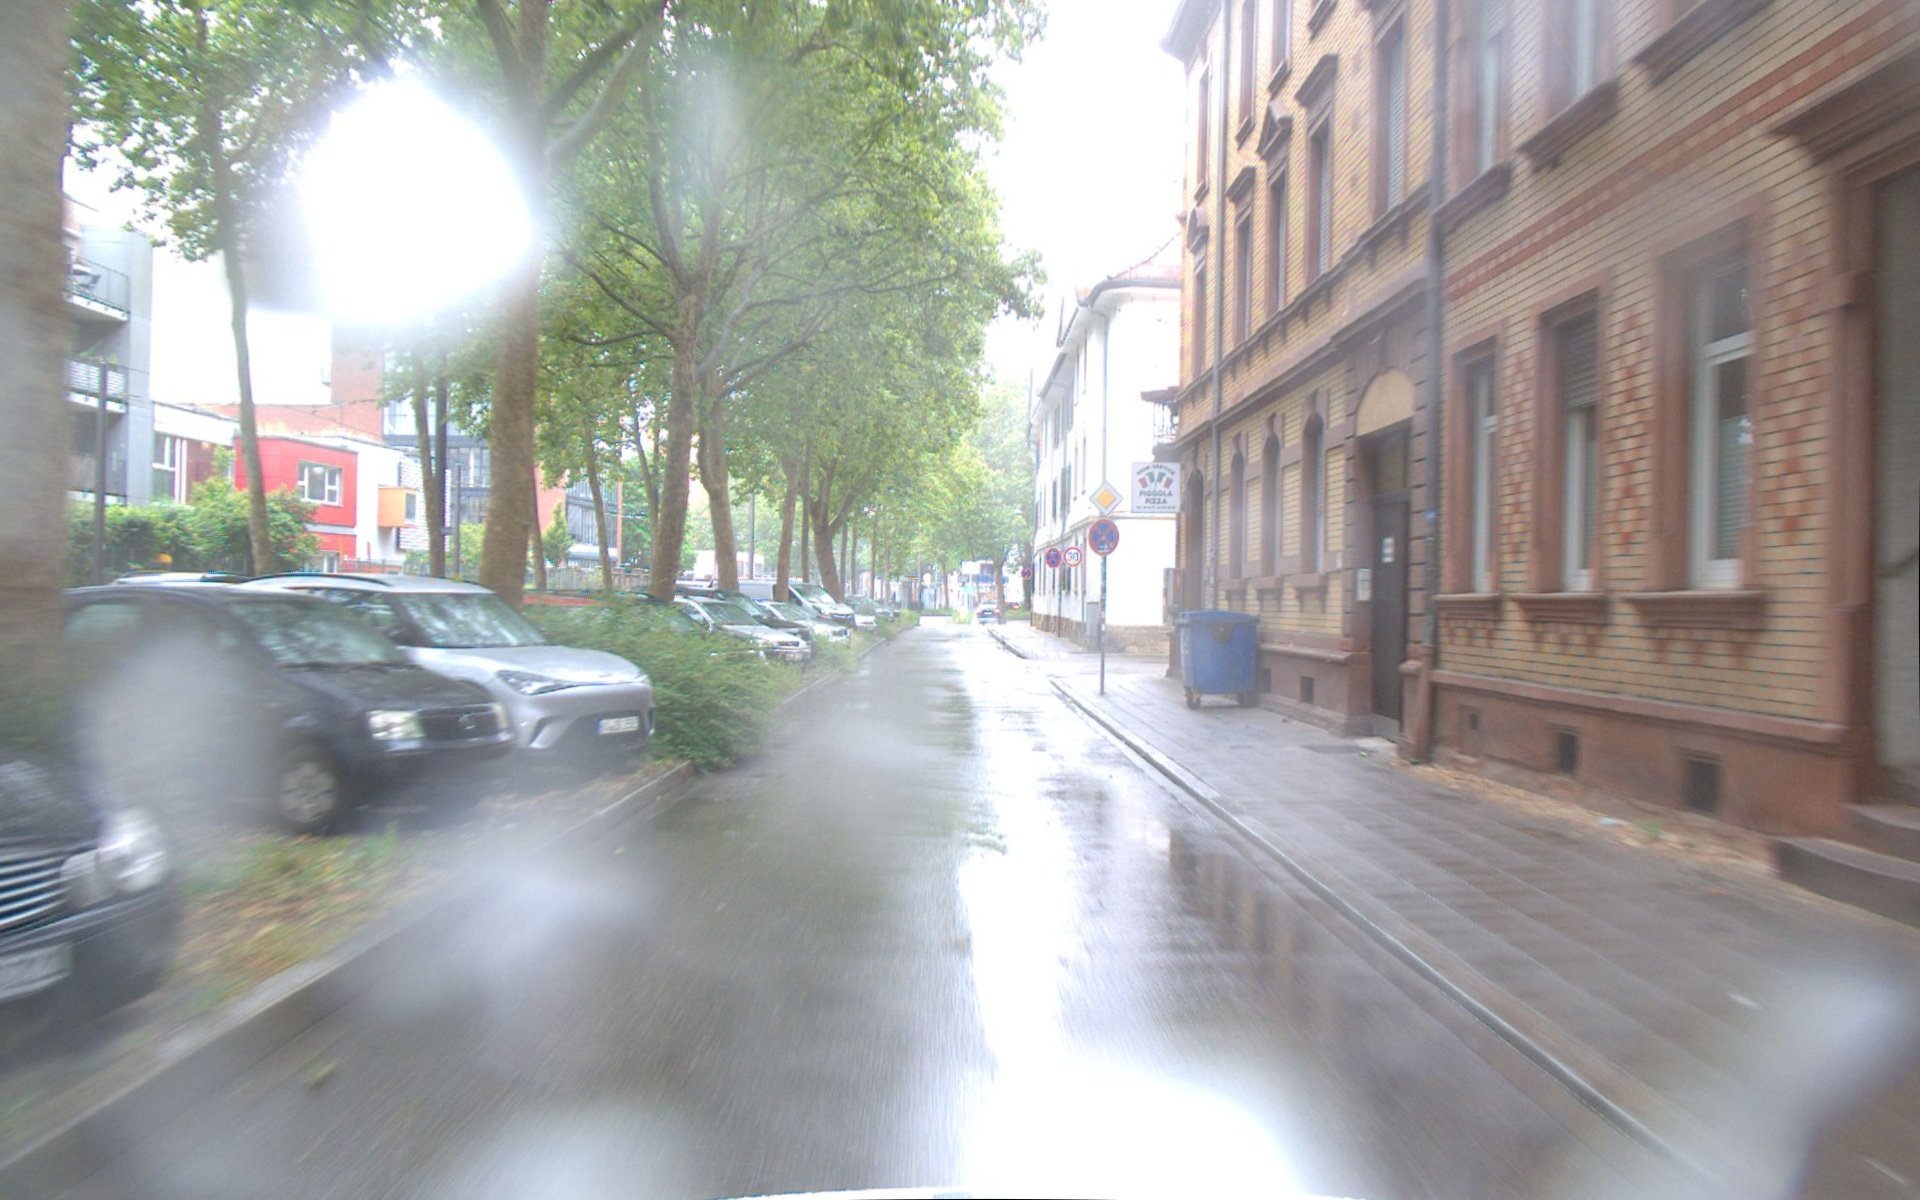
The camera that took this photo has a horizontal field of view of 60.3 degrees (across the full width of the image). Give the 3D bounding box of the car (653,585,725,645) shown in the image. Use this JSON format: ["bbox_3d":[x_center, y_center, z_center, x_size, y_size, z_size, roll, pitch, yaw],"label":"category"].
[{"bbox_3d":[-9.787,0.525,60.081,1.997,2.035,5.156,2,0,-3],"label":"car"}]

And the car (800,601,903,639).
[{"bbox_3d":[-5.048,0.931,76.739,4.371,1.625,1.921,2,0,26],"label":"car"}]

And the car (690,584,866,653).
[{"bbox_3d":[-4.518,0.437,40.999,3.974,1.525,1.747,2,0,23],"label":"car"}]

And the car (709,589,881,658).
[{"bbox_3d":[-5.087,0.710,50.954,5.020,2.012,2.098,0,-1,30],"label":"car"}]

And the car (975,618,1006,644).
[{"bbox_3d":[2.059,2.069,112.529,1.953,1.668,3.999,2,-1,-1],"label":"car"}]

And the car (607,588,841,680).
[{"bbox_3d":[-4.717,0.633,33.003,4.318,1.689,1.927,1,0,27],"label":"car"}]

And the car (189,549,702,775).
[{"bbox_3d":[-4.312,0.430,13.768,3.977,1.564,1.832,2,0,30],"label":"car"}]

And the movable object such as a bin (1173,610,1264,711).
[{"bbox_3d":[3.609,0.832,23.212,1.000,1.324,1.366,-2,0,-1],"label":"movable object such as a bin"}]

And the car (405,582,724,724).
[{"bbox_3d":[-4.881,0.598,20.348,3.574,1.505,1.740,2,0,30],"label":"car"}]

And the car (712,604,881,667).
[{"bbox_3d":[-4.398,0.926,44.527,4.218,1.462,1.746,2,0,26],"label":"car"}]

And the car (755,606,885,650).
[{"bbox_3d":[-5.035,0.987,59.514,4.461,1.508,1.771,0,-1,30],"label":"car"}]

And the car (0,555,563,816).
[{"bbox_3d":[-4.564,0.486,10.940,3.428,1.493,1.642,1,0,21],"label":"car"}]

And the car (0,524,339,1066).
[{"bbox_3d":[-4.353,0.462,5.276,4.555,1.349,1.845,1,0,27],"label":"car"}]

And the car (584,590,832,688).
[{"bbox_3d":[-4.650,0.712,30.340,4.322,1.674,1.868,-1,-1,31],"label":"car"}]
